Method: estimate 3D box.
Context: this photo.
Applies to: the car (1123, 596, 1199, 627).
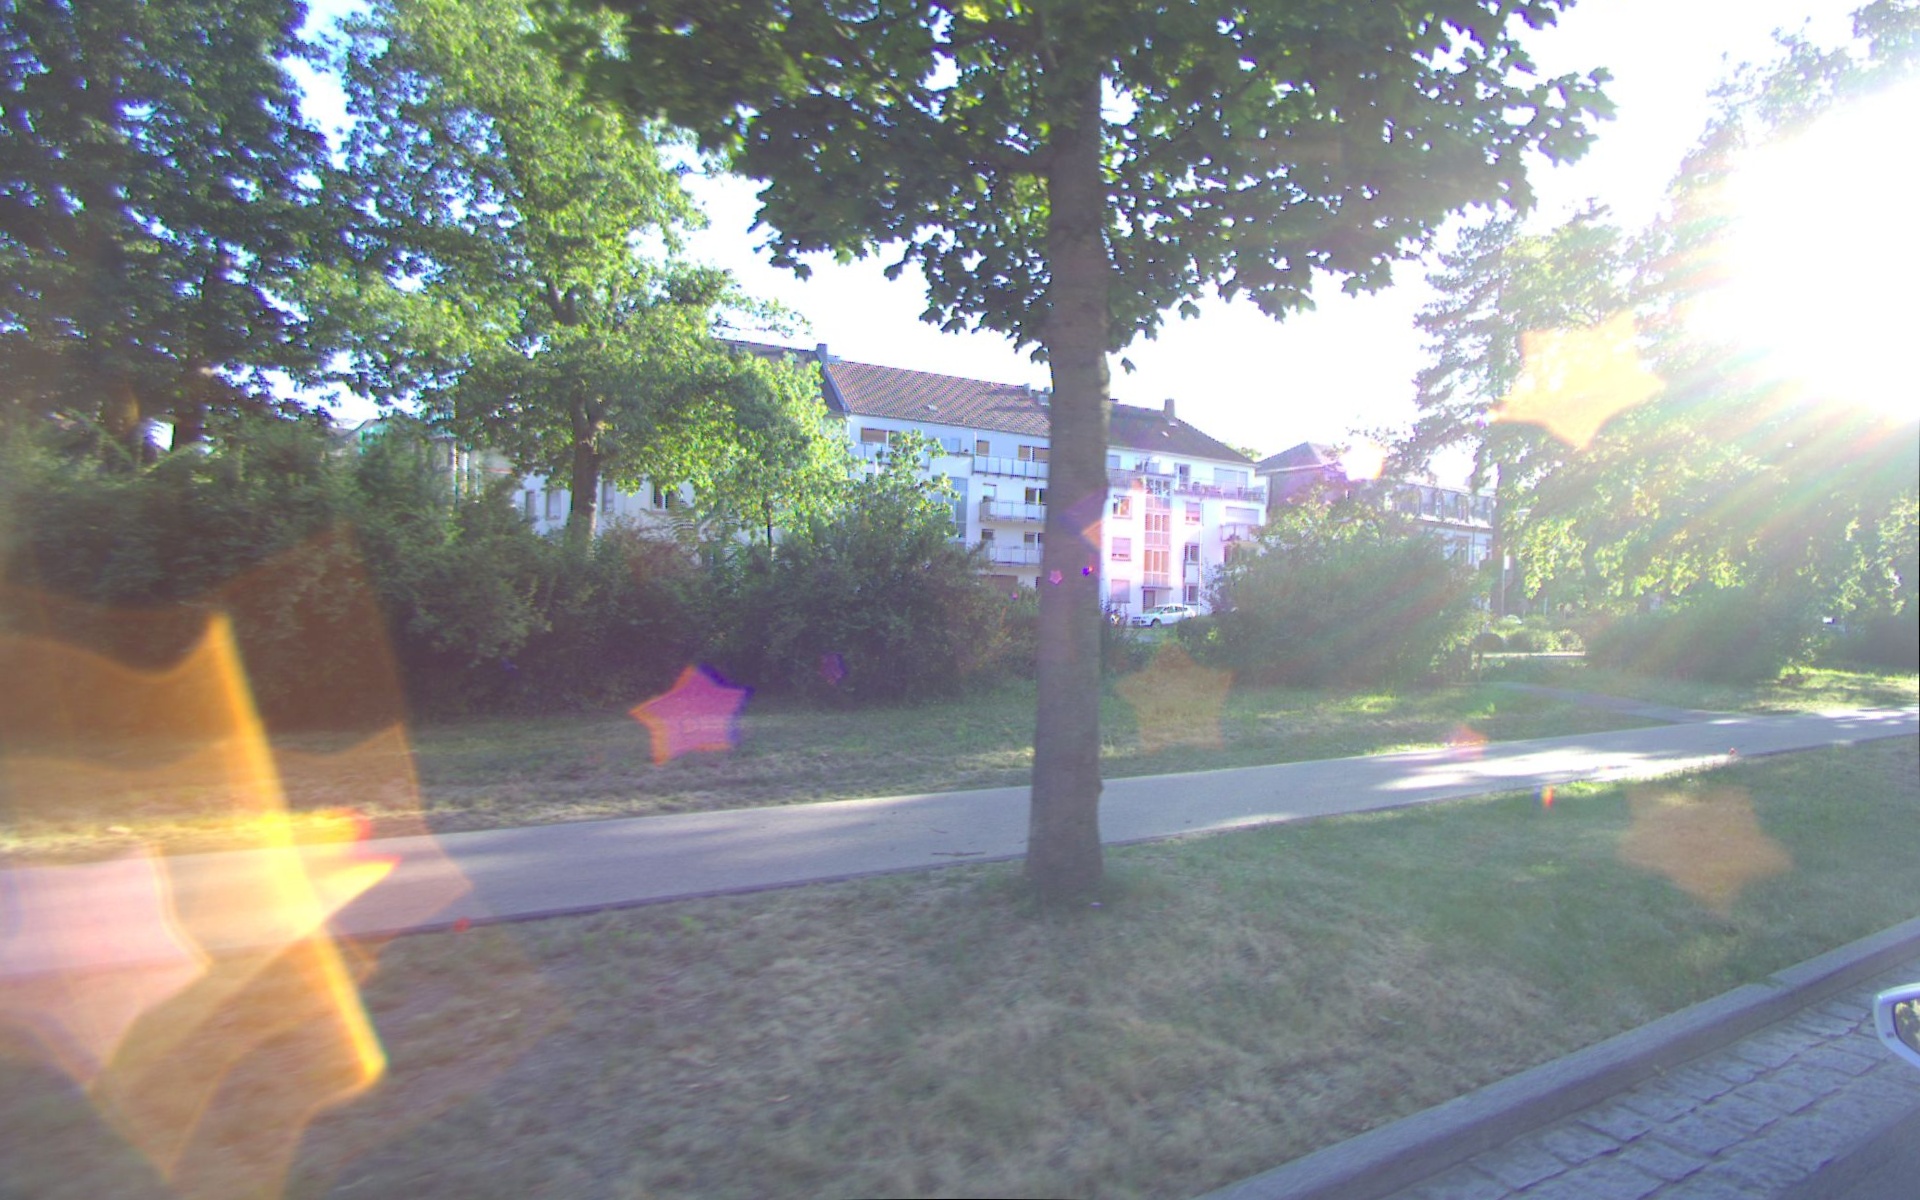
[{"bbox_3d":[12.720,0.727,63.506,4.528,1.877,1.985,1,0,-29],"label":"car"}]
